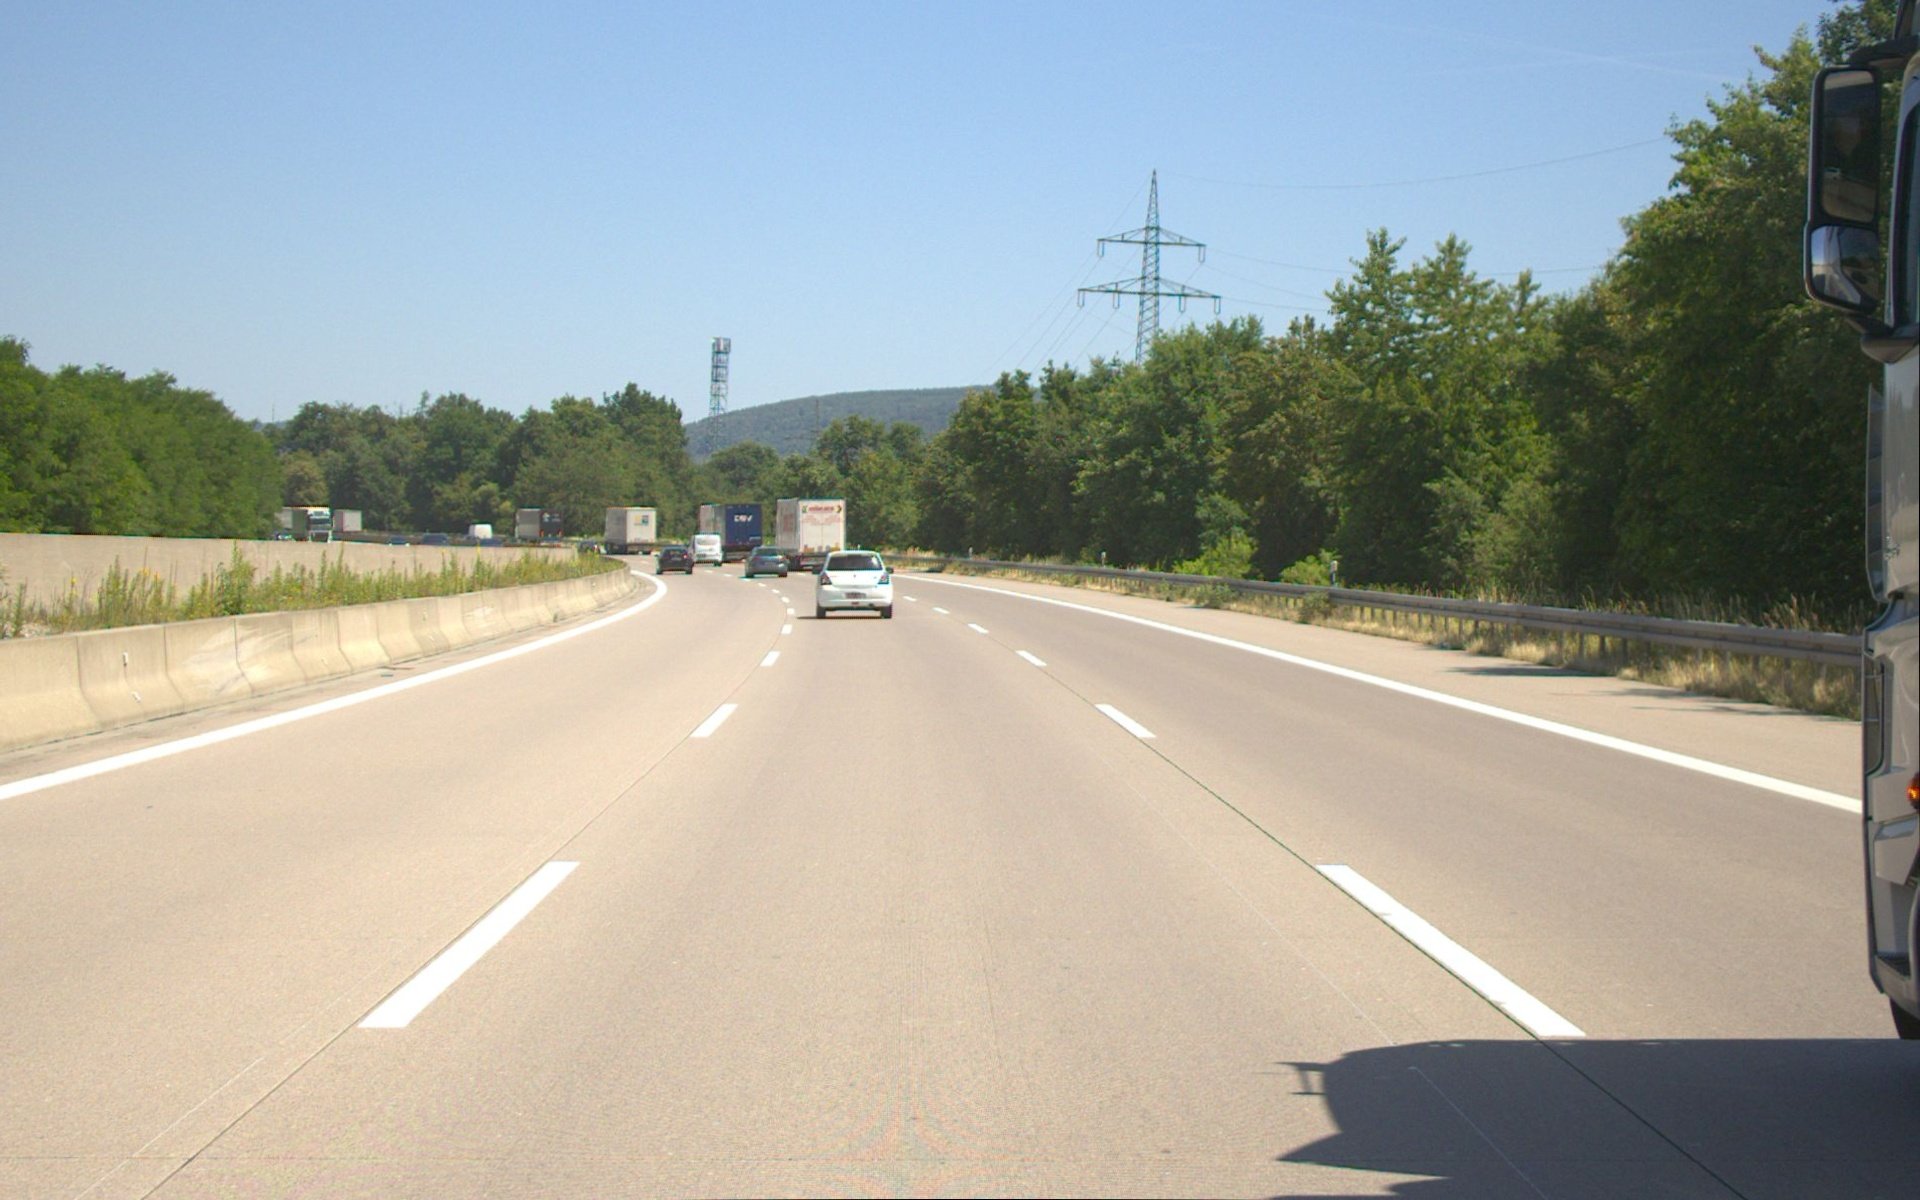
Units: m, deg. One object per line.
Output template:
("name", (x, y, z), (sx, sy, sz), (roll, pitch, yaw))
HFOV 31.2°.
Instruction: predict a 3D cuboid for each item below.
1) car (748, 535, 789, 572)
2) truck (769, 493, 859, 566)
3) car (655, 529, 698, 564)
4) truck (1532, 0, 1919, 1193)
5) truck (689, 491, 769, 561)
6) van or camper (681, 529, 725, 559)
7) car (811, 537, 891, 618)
("car", (-9.082, -2.229, 163.228), (1.610, 1.719, 3.574), (-1, 1, -8))
("truck", (-8.242, -3.894, 191.693), (3.819, 3.876, 14.156), (-1, 1, -7))
("car", (-14.980, -2.845, 181.766), (2.022, 1.695, 4.001), (5, 1, -2))
("truck", (4.149, -1.373, 3.045), (3.577, 5.767, 18.249), (3, 1, -1))
("truck", (-16.198, -5.153, 239.981), (3.906, 4.725, 14.054), (-1, 1, -10))
("van or camper", (-16.356, -3.558, 218.717), (1.867, 1.831, 4.001), (-1, 1, -19))
("car", (-2.448, -0.532, 77.505), (1.641, 1.656, 3.360), (4, 1, -2))
